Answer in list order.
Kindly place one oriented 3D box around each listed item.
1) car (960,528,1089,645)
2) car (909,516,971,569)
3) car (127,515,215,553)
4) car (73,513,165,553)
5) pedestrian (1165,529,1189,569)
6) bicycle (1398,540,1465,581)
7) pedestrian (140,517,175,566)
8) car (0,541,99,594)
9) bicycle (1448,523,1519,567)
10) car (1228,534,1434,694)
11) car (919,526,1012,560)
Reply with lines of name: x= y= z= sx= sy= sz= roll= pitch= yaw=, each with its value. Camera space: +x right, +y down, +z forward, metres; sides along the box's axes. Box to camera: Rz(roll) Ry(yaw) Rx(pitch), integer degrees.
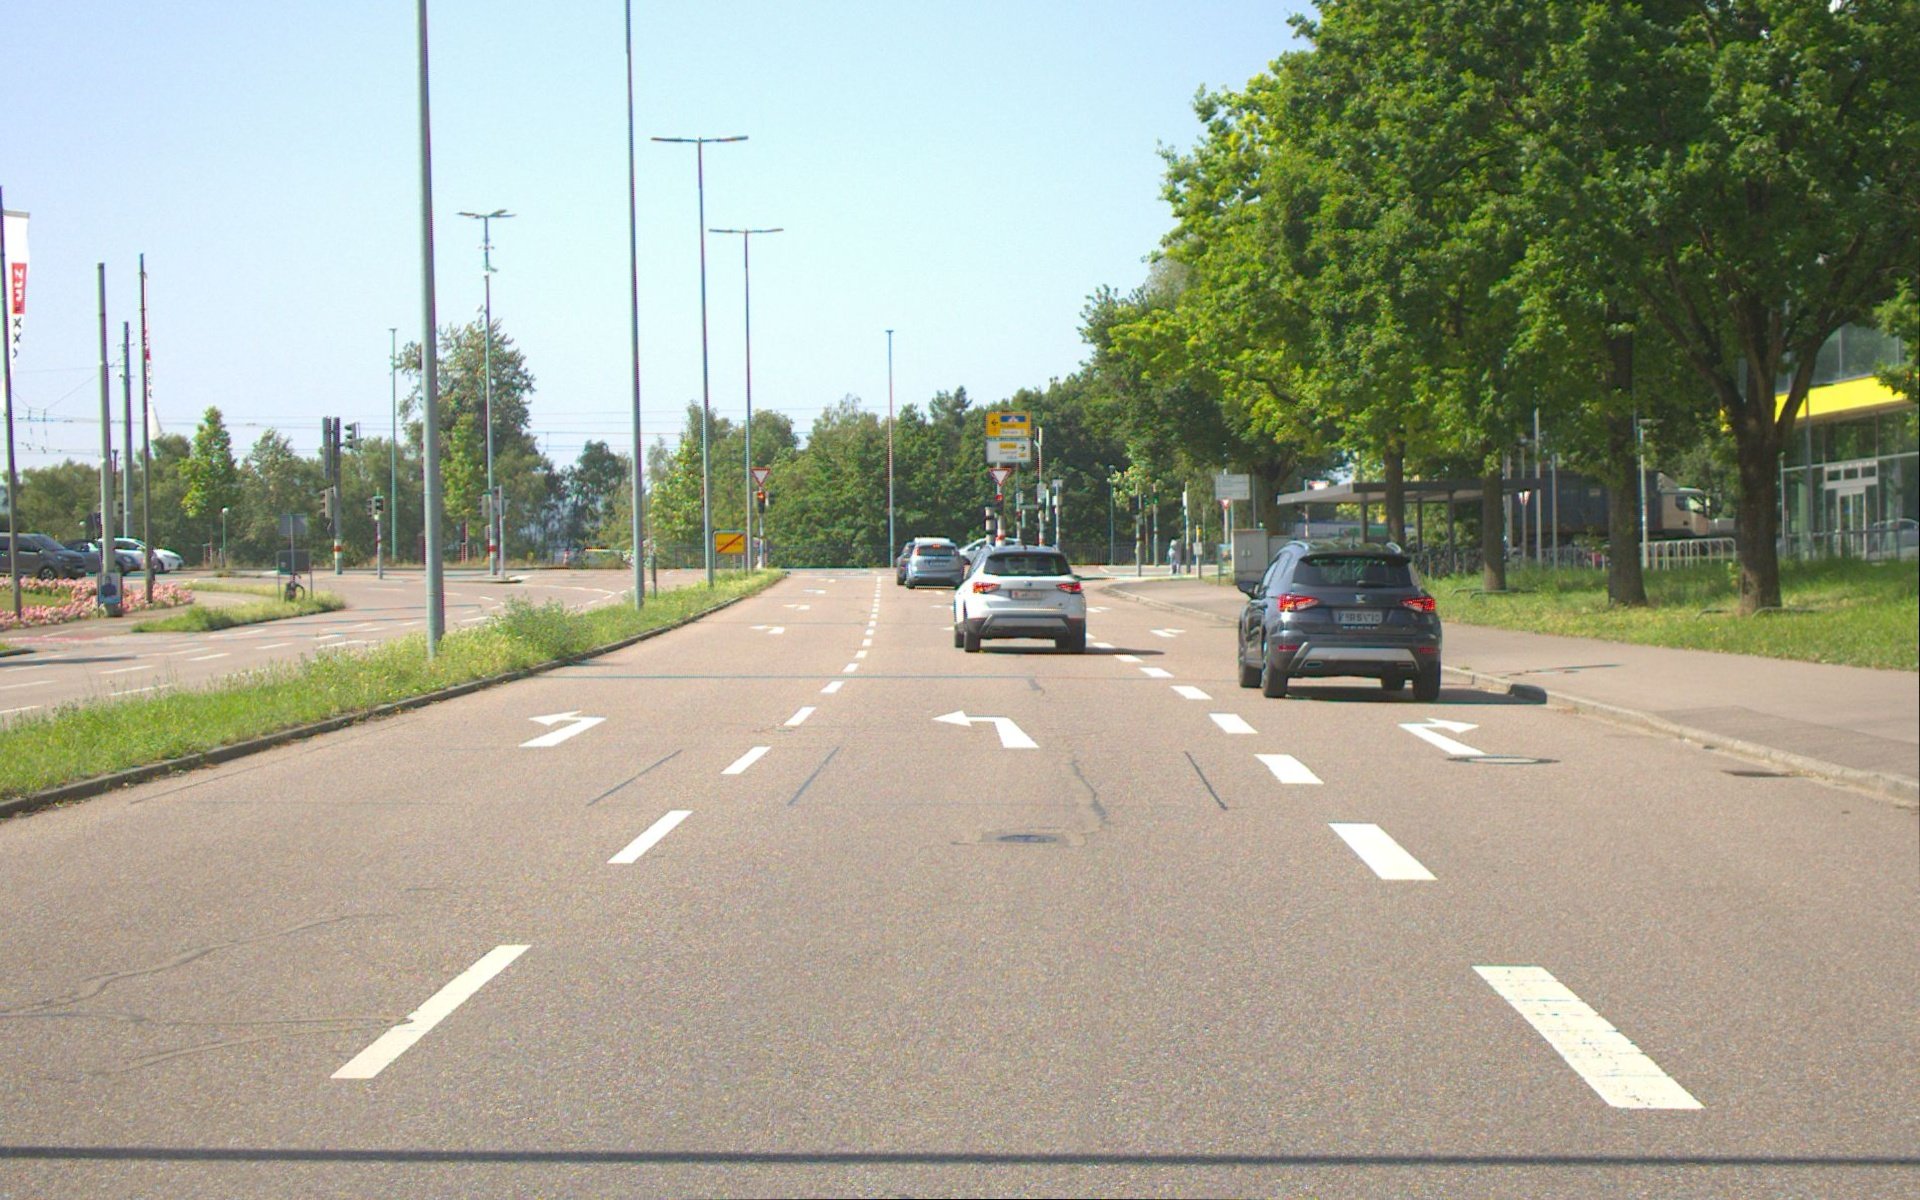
car: x=0.897 y=-0.229 z=49.720 sx=1.631 sy=1.493 sz=3.871 roll=0 pitch=3 yaw=-2
car: x=-0.640 y=-1.812 z=107.883 sx=1.706 sy=1.568 sz=4.175 roll=-2 pitch=1 yaw=-3
car: x=-32.602 y=-2.726 z=142.126 sx=3.342 sy=1.495 sz=1.410 roll=-1 pitch=0 yaw=-5
car: x=-33.770 y=-2.690 z=138.117 sx=3.385 sy=1.495 sz=1.410 roll=-1 pitch=0 yaw=-3
pedestrian: x=8.471 y=-1.985 z=134.095 sx=0.773 sy=1.505 sz=1.007 roll=-1 pitch=2 yaw=10
bicycle: x=13.056 y=-1.095 z=95.213 sx=1.758 sy=1.092 sz=0.452 roll=-1 pitch=1 yaw=-1
pedestrian: x=-28.727 y=-2.090 z=123.071 sx=0.840 sy=1.701 sz=0.905 roll=-2 pitch=1 yaw=11
car: x=-35.064 y=-1.265 z=131.057 sx=3.991 sy=1.918 sz=1.815 roll=1 pitch=2 yaw=20
bicycle: x=13.533 y=-1.414 z=88.915 sx=1.758 sy=1.092 sz=0.452 roll=-1 pitch=1 yaw=-1
car: x=3.669 y=0.098 z=34.447 sx=1.670 sy=1.518 sz=3.377 roll=0 pitch=1 yaw=0
car: x=0.252 y=-2.660 z=161.065 sx=4.072 sy=1.541 sz=1.800 roll=-1 pitch=1 yaw=-12
